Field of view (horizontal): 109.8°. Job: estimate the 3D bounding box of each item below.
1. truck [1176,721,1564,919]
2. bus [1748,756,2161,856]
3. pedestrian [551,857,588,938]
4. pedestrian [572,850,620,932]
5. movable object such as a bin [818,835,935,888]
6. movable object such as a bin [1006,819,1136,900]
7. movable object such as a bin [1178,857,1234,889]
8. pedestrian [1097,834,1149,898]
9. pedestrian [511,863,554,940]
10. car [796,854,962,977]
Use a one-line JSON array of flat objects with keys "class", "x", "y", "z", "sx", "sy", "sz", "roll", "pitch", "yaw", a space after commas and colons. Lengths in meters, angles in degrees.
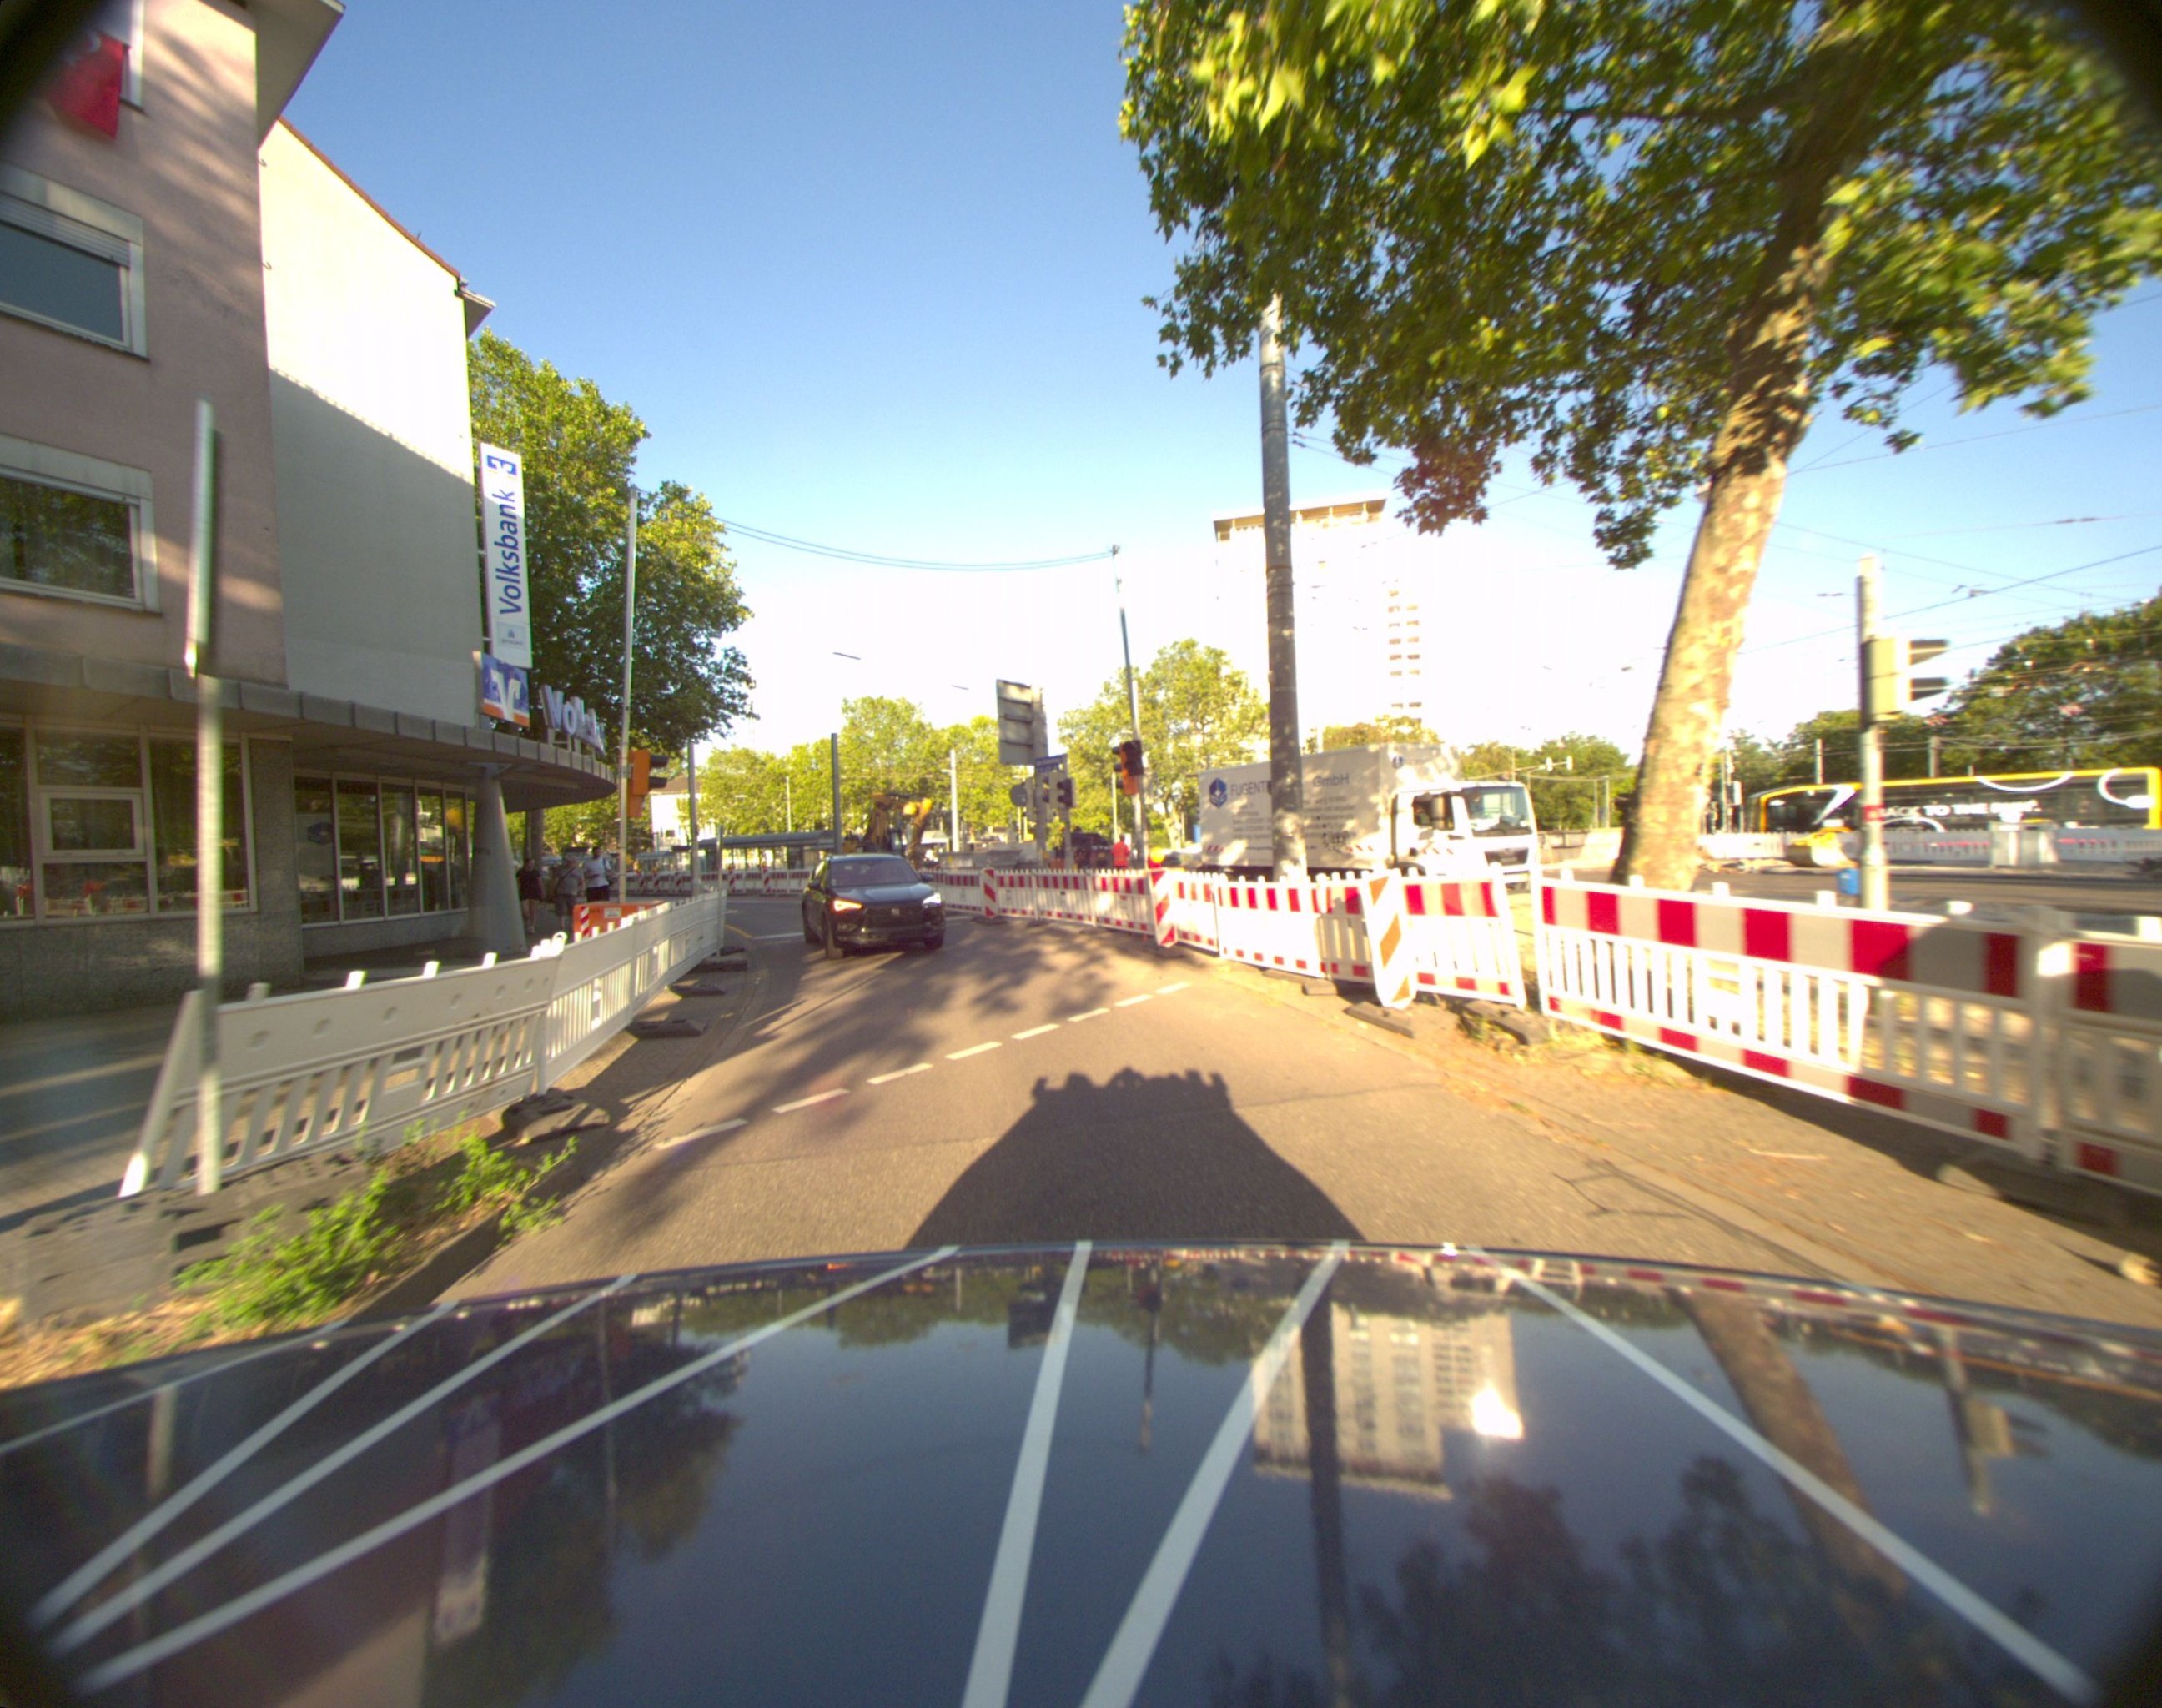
[{"class": "truck", "x": 6.052, "y": -0.627, "z": 18.122, "sx": 2.825, "sy": 3.521, "sz": 8.963, "roll": -3, "pitch": 1, "yaw": -27}, {"class": "bus", "x": 38.509, "y": -1.924, "z": 34.267, "sx": 12.268, "sy": 3.701, "sz": 3.093, "roll": -1, "pitch": 1, "yaw": 32}, {"class": "pedestrian", "x": -10.938, "y": 0.913, "z": 16.255, "sx": 0.585, "sy": 1.698, "sz": 0.678, "roll": -1, "pitch": -1, "yaw": -28}, {"class": "pedestrian", "x": -11.409, "y": 0.874, "z": 17.913, "sx": 0.842, "sy": 1.857, "sz": 1.097, "roll": 2, "pitch": -3, "yaw": -29}, {"class": "movable object such as a bin", "x": -9.926, "y": 0.361, "z": 36.867, "sx": 4.889, "sy": 2.304, "sz": 2.656, "roll": -2, "pitch": 1, "yaw": 30}, {"class": "movable object such as a bin", "x": -0.483, "y": 0.160, "z": 24.831, "sx": 2.002, "sy": 2.244, "sz": 5.196, "roll": -5, "pitch": 2, "yaw": -27}, {"class": "movable object such as a bin", "x": 3.874, "y": 0.586, "z": 23.586, "sx": 1.416, "sy": 0.911, "sz": 0.937, "roll": -1, "pitch": 1, "yaw": 38}, {"class": "pedestrian", "x": 1.235, "y": 0.346, "z": 22.216, "sx": 0.977, "sy": 1.788, "sz": 1.067, "roll": -4, "pitch": 2, "yaw": -37}, {"class": "pedestrian", "x": -11.517, "y": 0.991, "z": 15.980, "sx": 0.636, "sy": 1.564, "sz": 0.773, "roll": 0, "pitch": -1, "yaw": -28}, {"class": "car", "x": -3.690, "y": 0.883, "z": 13.286, "sx": 2.002, "sy": 1.638, "sz": 4.195, "roll": -5, "pitch": 2, "yaw": -24}]
